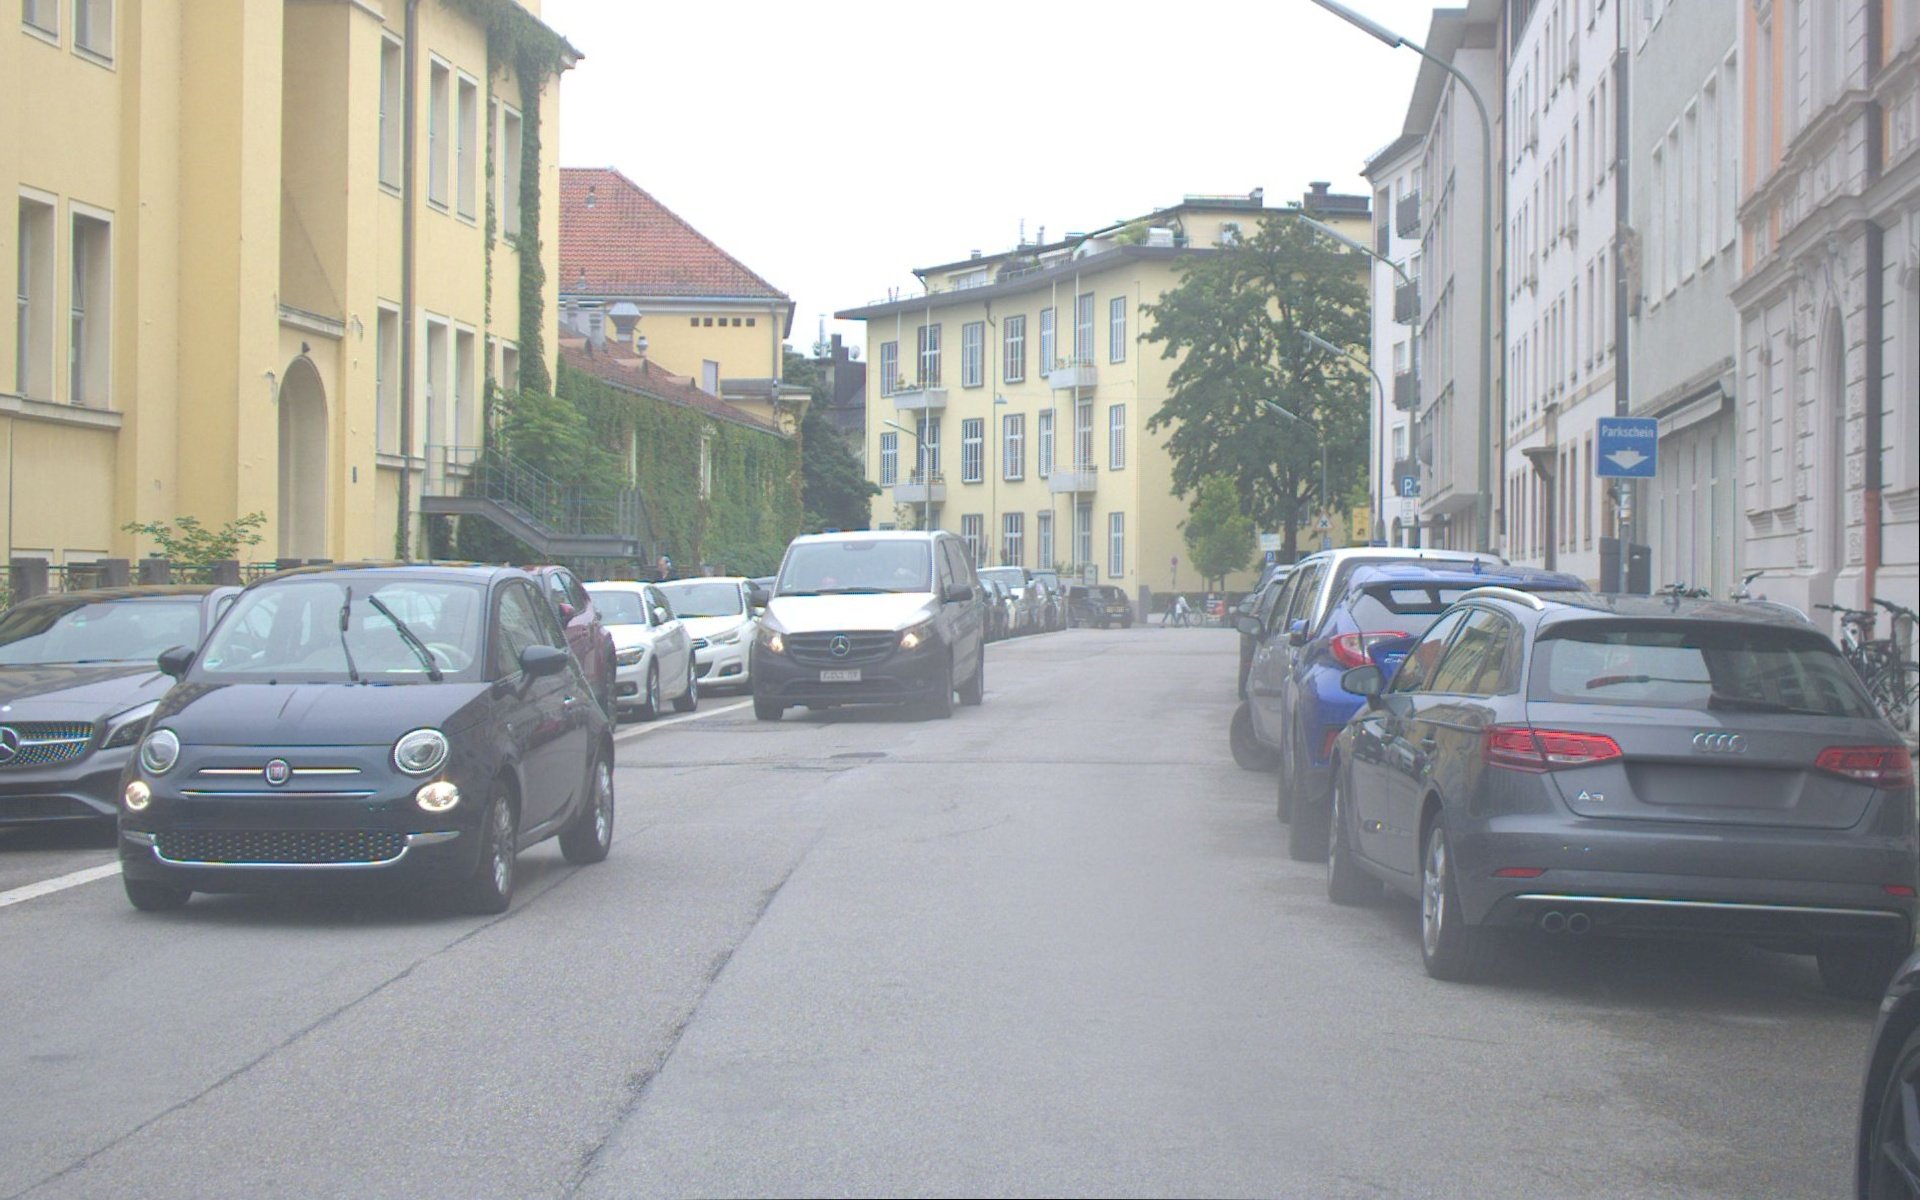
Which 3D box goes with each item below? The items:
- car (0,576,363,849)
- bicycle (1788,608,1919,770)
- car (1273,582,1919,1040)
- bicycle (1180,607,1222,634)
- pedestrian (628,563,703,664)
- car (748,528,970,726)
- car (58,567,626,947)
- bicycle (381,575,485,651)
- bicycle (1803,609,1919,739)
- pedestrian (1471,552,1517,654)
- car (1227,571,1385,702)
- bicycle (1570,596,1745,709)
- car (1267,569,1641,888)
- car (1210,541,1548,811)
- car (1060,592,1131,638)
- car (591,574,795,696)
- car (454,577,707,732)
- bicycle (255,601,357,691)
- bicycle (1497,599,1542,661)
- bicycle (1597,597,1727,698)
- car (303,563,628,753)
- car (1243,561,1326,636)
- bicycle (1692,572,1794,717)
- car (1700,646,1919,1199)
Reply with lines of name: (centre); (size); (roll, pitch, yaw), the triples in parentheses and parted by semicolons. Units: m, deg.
car: (-5.099, 0.626, 20.454); (2.014, 1.413, 4.615); (-2, 0, 3)
bicycle: (6.682, 0.625, 25.039); (0.722, 1.108, 1.995); (1, 0, -3)
car: (2.421, 0.711, 13.938); (1.705, 1.449, 4.402); (3, 0, -2)
bicycle: (10.888, 0.928, 155.521); (1.926, 1.197, 0.594); (1, 0, 42)
pedestrian: (-5.048, 0.230, 58.961); (0.902, 1.713, 1.057); (0, 0, 22)
car: (-0.940, 0.254, 34.853); (1.915, 1.842, 5.320); (0, 0, 2)
car: (-2.652, 0.606, 15.579); (1.661, 1.469, 3.707); (1, 1, 4)
bicycle: (-8.824, 0.208, 57.577); (1.626, 1.264, 0.527); (0, 0, 7)
bicycle: (7.435, 0.592, 28.290); (0.595, 1.020, 1.817); (0, 0, 2)
pedestrian: (9.461, 0.053, 60.904); (0.723, 1.757, 0.904); (1, -2, 6)
car: (4.030, 0.404, 39.774); (1.688, 1.397, 4.362); (1, 0, 7)
bicycle: (7.289, 0.533, 35.877); (2.086, 1.135, 0.584); (-1, 0, -38)
car: (2.566, 0.602, 18.731); (1.742, 1.489, 4.547); (1, 0, 5)
car: (2.835, 0.478, 24.018); (1.681, 1.668, 3.804); (2, 0, -2)
car: (6.090, 0.647, 155.029); (1.762, 1.868, 4.380); (5, -1, -17)
car: (-3.303, 0.419, 43.351); (1.785, 1.427, 4.651); (1, 0, 5)
car: (-3.871, 0.536, 35.792); (1.794, 1.424, 4.664); (-3, 0, 3)
bicycle: (-7.916, 0.548, 41.671); (0.538, 1.059, 1.639); (1, 0, 15)
bicycle: (11.350, 0.605, 69.780); (0.512, 1.218, 1.989); (0, 0, -1)
bicycle: (7.792, 0.510, 38.124); (0.621, 1.086, 1.810); (0, 0, 40)
car: (-4.228, 0.480, 30.111); (1.958, 1.477, 4.529); (-2, 0, 3)
car: (11.083, -0.015, 117.841); (2.079, 2.226, 5.244); (5, -2, -1)
bicycle: (7.724, 0.419, 33.973); (0.595, 1.380, 2.092); (0, 0, 2)
car: (2.680, 0.824, 5.009); (1.954, 1.409, 5.113); (1, 0, -2)
